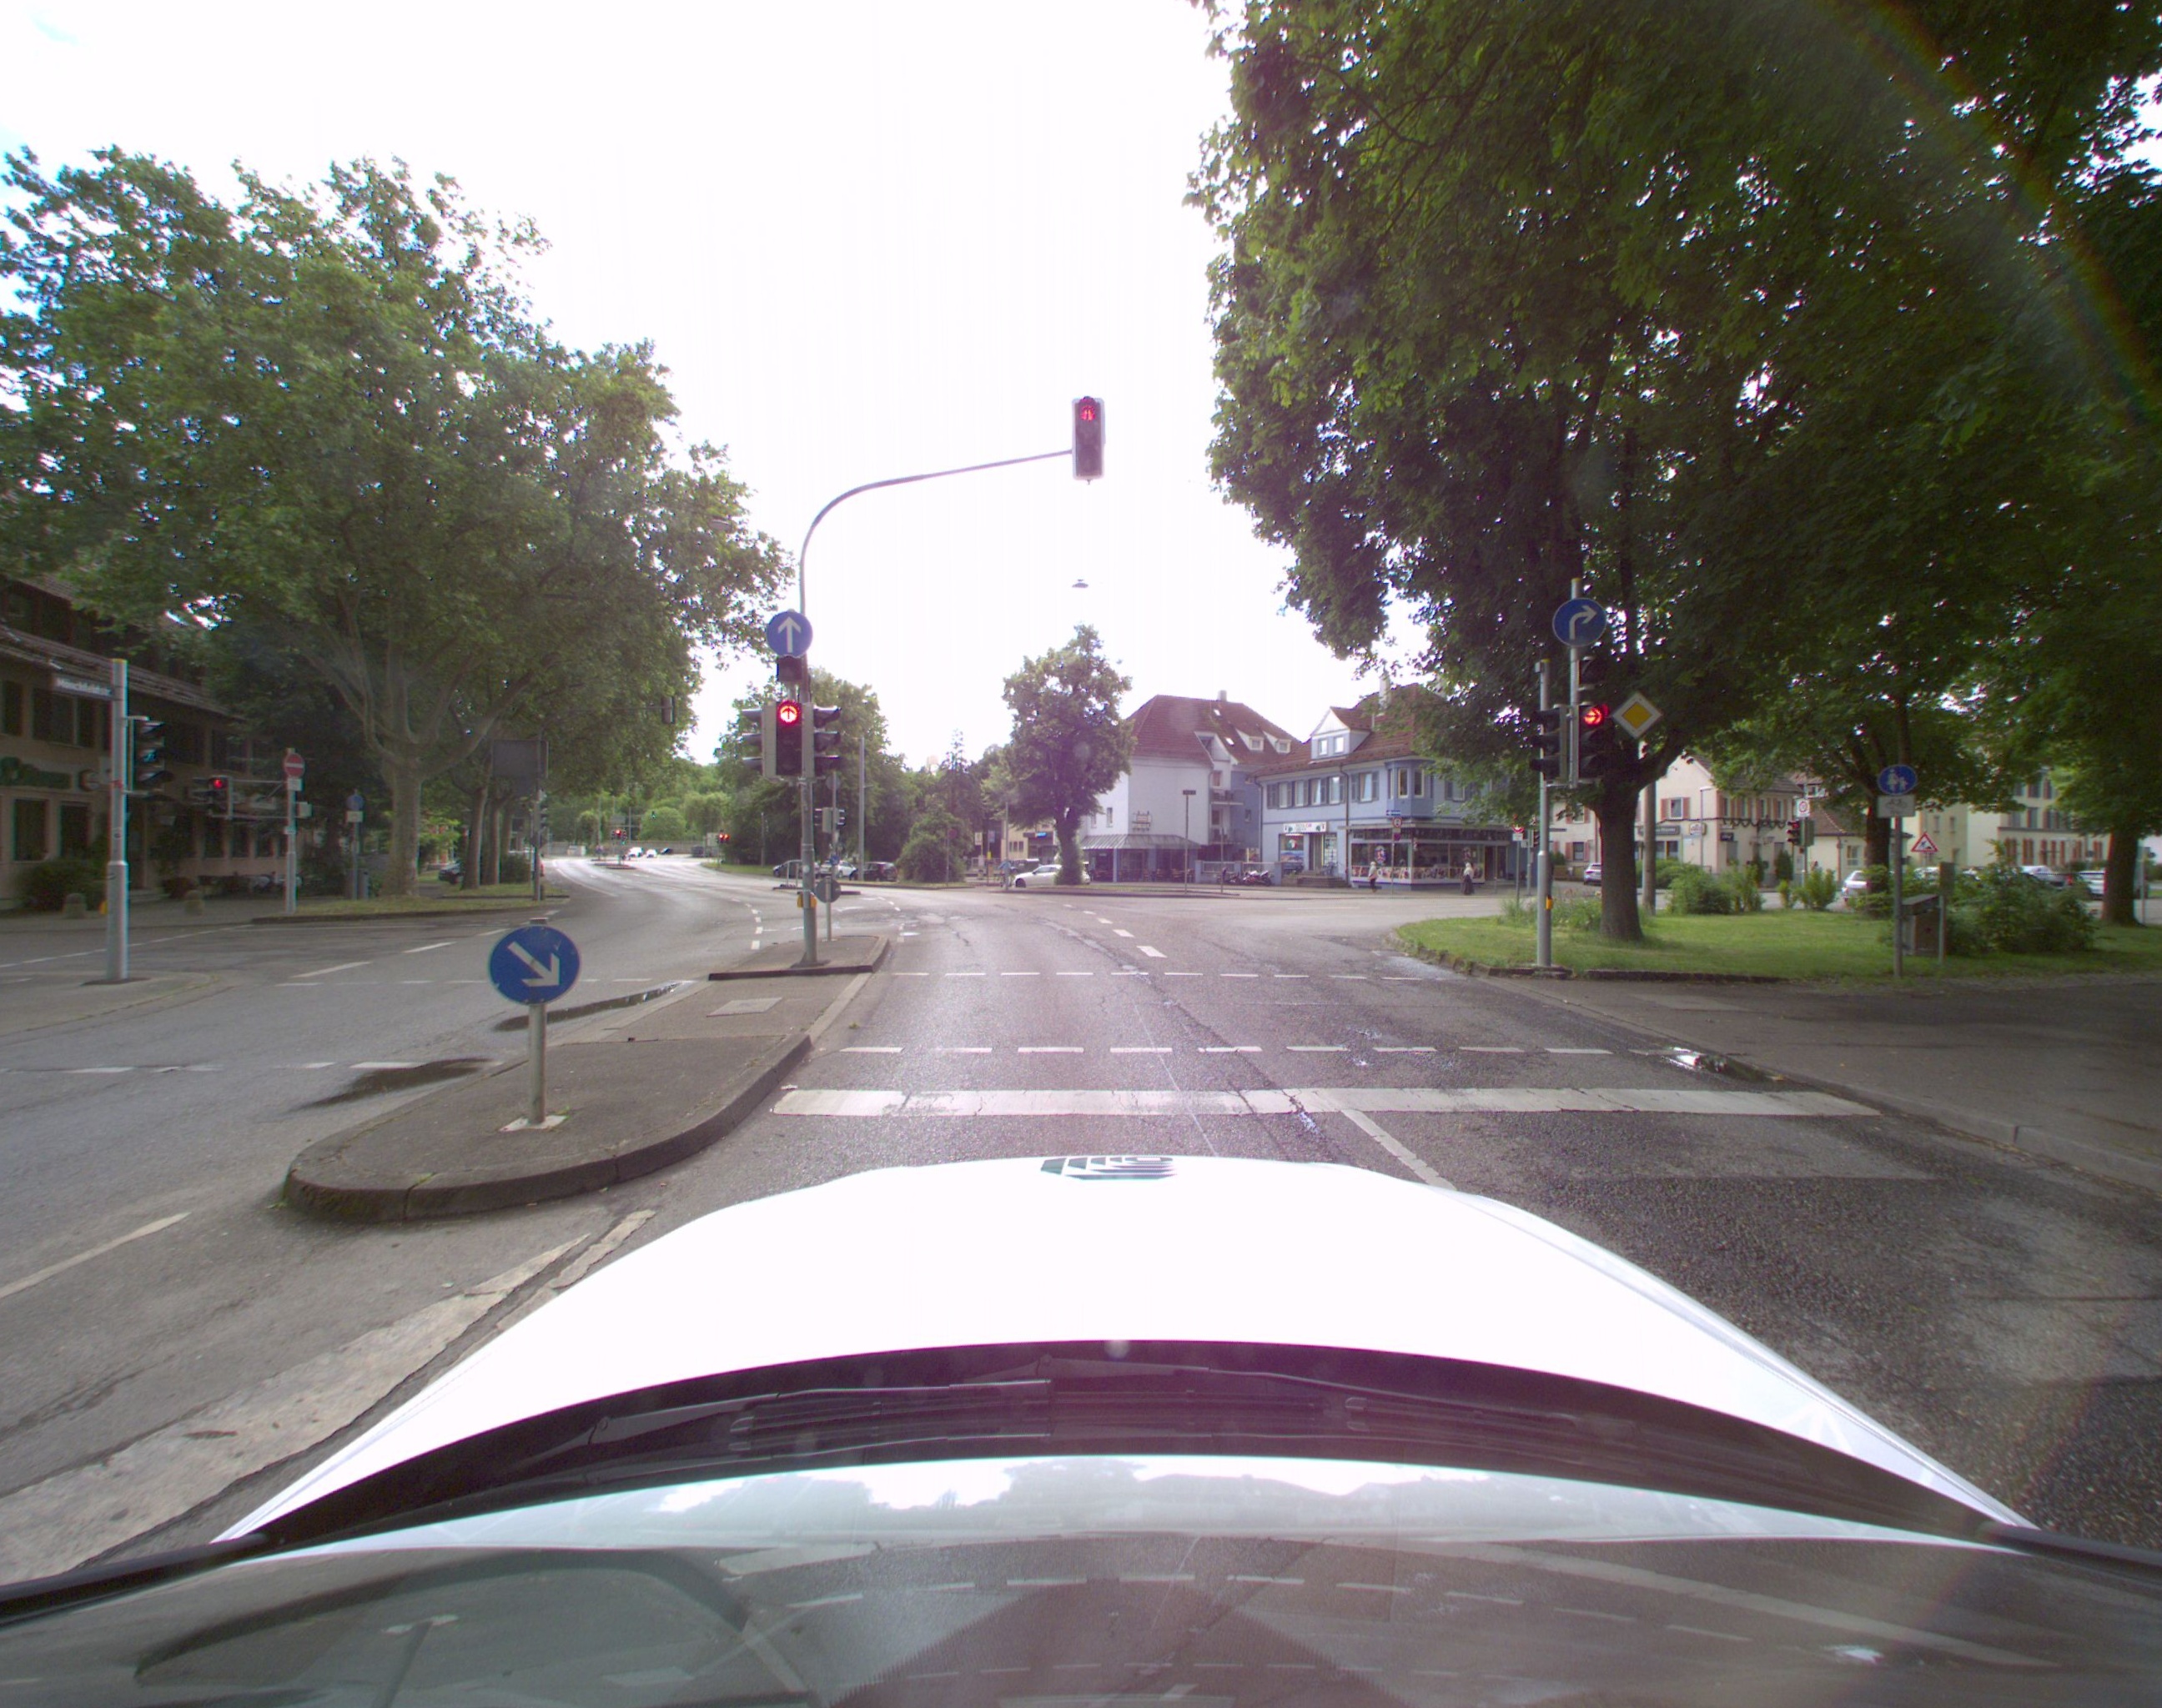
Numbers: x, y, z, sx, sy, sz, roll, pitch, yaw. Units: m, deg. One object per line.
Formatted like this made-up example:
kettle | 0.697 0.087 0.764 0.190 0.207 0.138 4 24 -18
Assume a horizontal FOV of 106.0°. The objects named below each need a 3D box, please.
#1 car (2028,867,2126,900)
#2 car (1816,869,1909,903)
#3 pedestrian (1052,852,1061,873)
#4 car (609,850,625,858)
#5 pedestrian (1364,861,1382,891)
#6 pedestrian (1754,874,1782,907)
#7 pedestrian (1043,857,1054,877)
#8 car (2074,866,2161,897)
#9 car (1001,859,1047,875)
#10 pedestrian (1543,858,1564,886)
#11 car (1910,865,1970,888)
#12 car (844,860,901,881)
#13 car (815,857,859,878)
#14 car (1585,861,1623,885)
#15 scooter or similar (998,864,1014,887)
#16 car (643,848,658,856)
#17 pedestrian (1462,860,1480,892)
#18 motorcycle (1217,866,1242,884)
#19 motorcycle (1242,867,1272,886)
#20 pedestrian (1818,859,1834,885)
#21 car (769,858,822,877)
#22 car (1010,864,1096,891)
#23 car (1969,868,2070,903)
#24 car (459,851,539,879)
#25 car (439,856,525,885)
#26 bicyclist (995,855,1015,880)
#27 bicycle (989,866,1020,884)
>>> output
car | 47.078 1.374 38.514 3.731 1.457 1.640 0 0 -17
car | 31.851 1.274 33.199 3.007 1.267 1.455 0 -1 -17
pedestrian | -1.769 0.617 59.350 0.538 1.560 0.470 -1 -1 15
car | -87.225 0.009 153.101 3.293 1.486 1.594 -1 -2 43
pedestrian | 15.116 1.131 42.174 0.724 1.560 0.773 -1 -1 33
pedestrian | 22.741 1.201 26.963 0.505 1.081 0.514 0 -1 -13
pedestrian | -3.238 1.302 81.119 0.838 2.014 1.051 0 -1 -12
car | 52.595 1.374 41.251 3.731 1.457 1.640 0 0 -17
car | -5.322 1.237 75.914 3.948 1.442 1.742 0 0 -18
pedestrian | 26.384 0.989 45.440 0.671 1.560 0.743 0 -1 -13
car | 57.183 1.500 54.209 3.871 1.447 1.753 0 -1 -28
car | -13.828 1.057 53.998 3.285 1.352 1.791 0 0 29
car | -20.136 1.088 67.404 1.848 1.640 3.768 0 0 13
car | 32.457 1.144 50.618 1.866 1.391 3.637 0 0 31
scooter or similar | -3.954 1.141 42.843 0.439 1.175 1.442 -1 -1 11
car | -83.128 -0.383 157.235 2.988 1.417 1.509 -1 -2 43
pedestrian | 19.055 1.071 39.828 0.687 1.560 0.671 -1 -1 33
motorcycle | 9.133 1.310 50.044 1.441 1.088 0.527 -1 -1 37
motorcycle | 10.426 1.321 48.242 1.609 1.088 0.631 -1 -1 34
pedestrian | 46.079 1.105 50.361 0.504 1.560 0.507 0 -1 -13
car | -22.591 1.029 64.513 3.742 1.465 1.629 0 0 20
car | -1.596 1.288 45.930 4.654 1.410 1.914 0 -1 37
car | 42.344 1.383 36.751 3.731 1.457 1.640 0 0 -17
car | -36.461 0.681 51.173 4.015 1.684 1.979 0 -1 -34
car | -35.631 0.956 48.604 4.015 1.684 1.979 0 -1 -34
bicyclist | -5.010 0.897 53.565 0.976 1.651 0.924 -1 -1 33
bicycle | -5.023 1.354 53.564 1.927 1.149 0.882 0 -1 35
